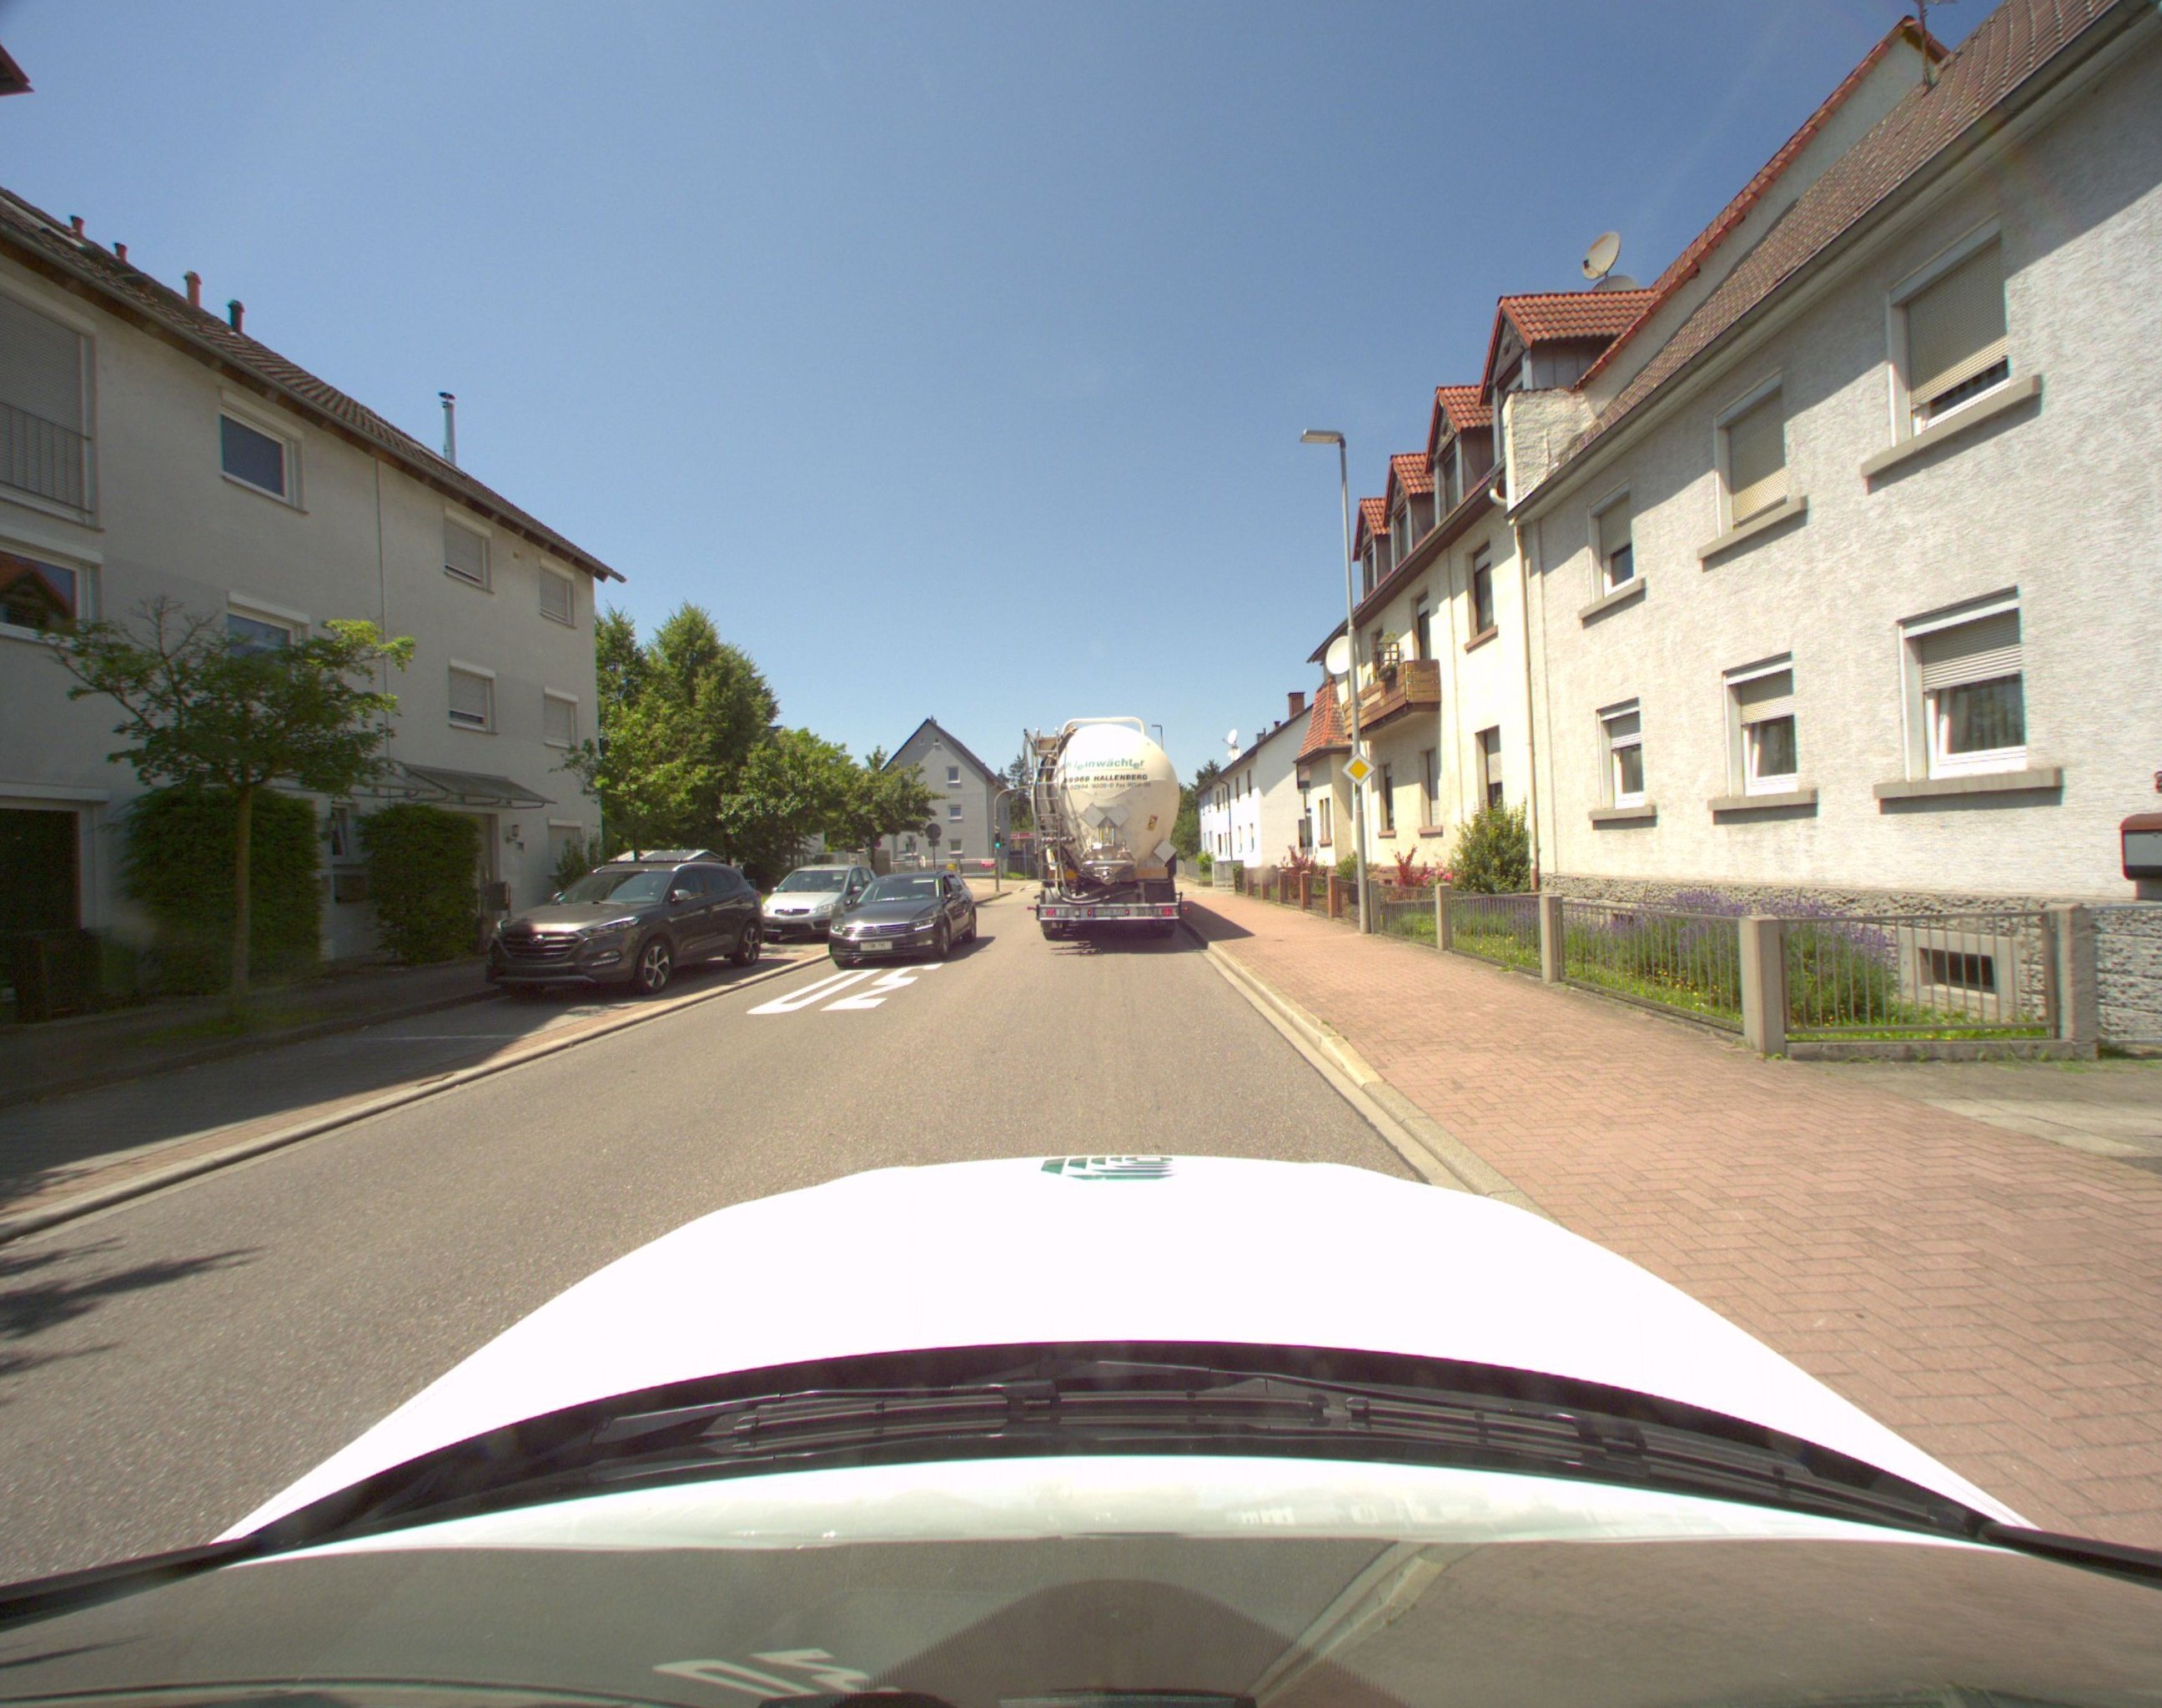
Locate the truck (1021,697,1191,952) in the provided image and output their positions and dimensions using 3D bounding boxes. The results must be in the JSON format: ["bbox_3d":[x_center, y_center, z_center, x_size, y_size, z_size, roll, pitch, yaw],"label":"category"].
[{"bbox_3d":[0.564,-0.448,17.772,2.631,4.016,9.565,-1,0,2],"label":"truck"}]

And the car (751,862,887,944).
[{"bbox_3d":[-5.674,0.994,18.142,1.691,1.581,3.838,-1,0,1],"label":"car"}]

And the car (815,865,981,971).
[{"bbox_3d":[-3.012,0.992,14.382,1.778,1.456,4.259,-4,0,1],"label":"car"}]

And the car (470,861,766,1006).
[{"bbox_3d":[-6.094,0.934,11.346,1.685,1.620,3.999,-1,0,2],"label":"car"}]
